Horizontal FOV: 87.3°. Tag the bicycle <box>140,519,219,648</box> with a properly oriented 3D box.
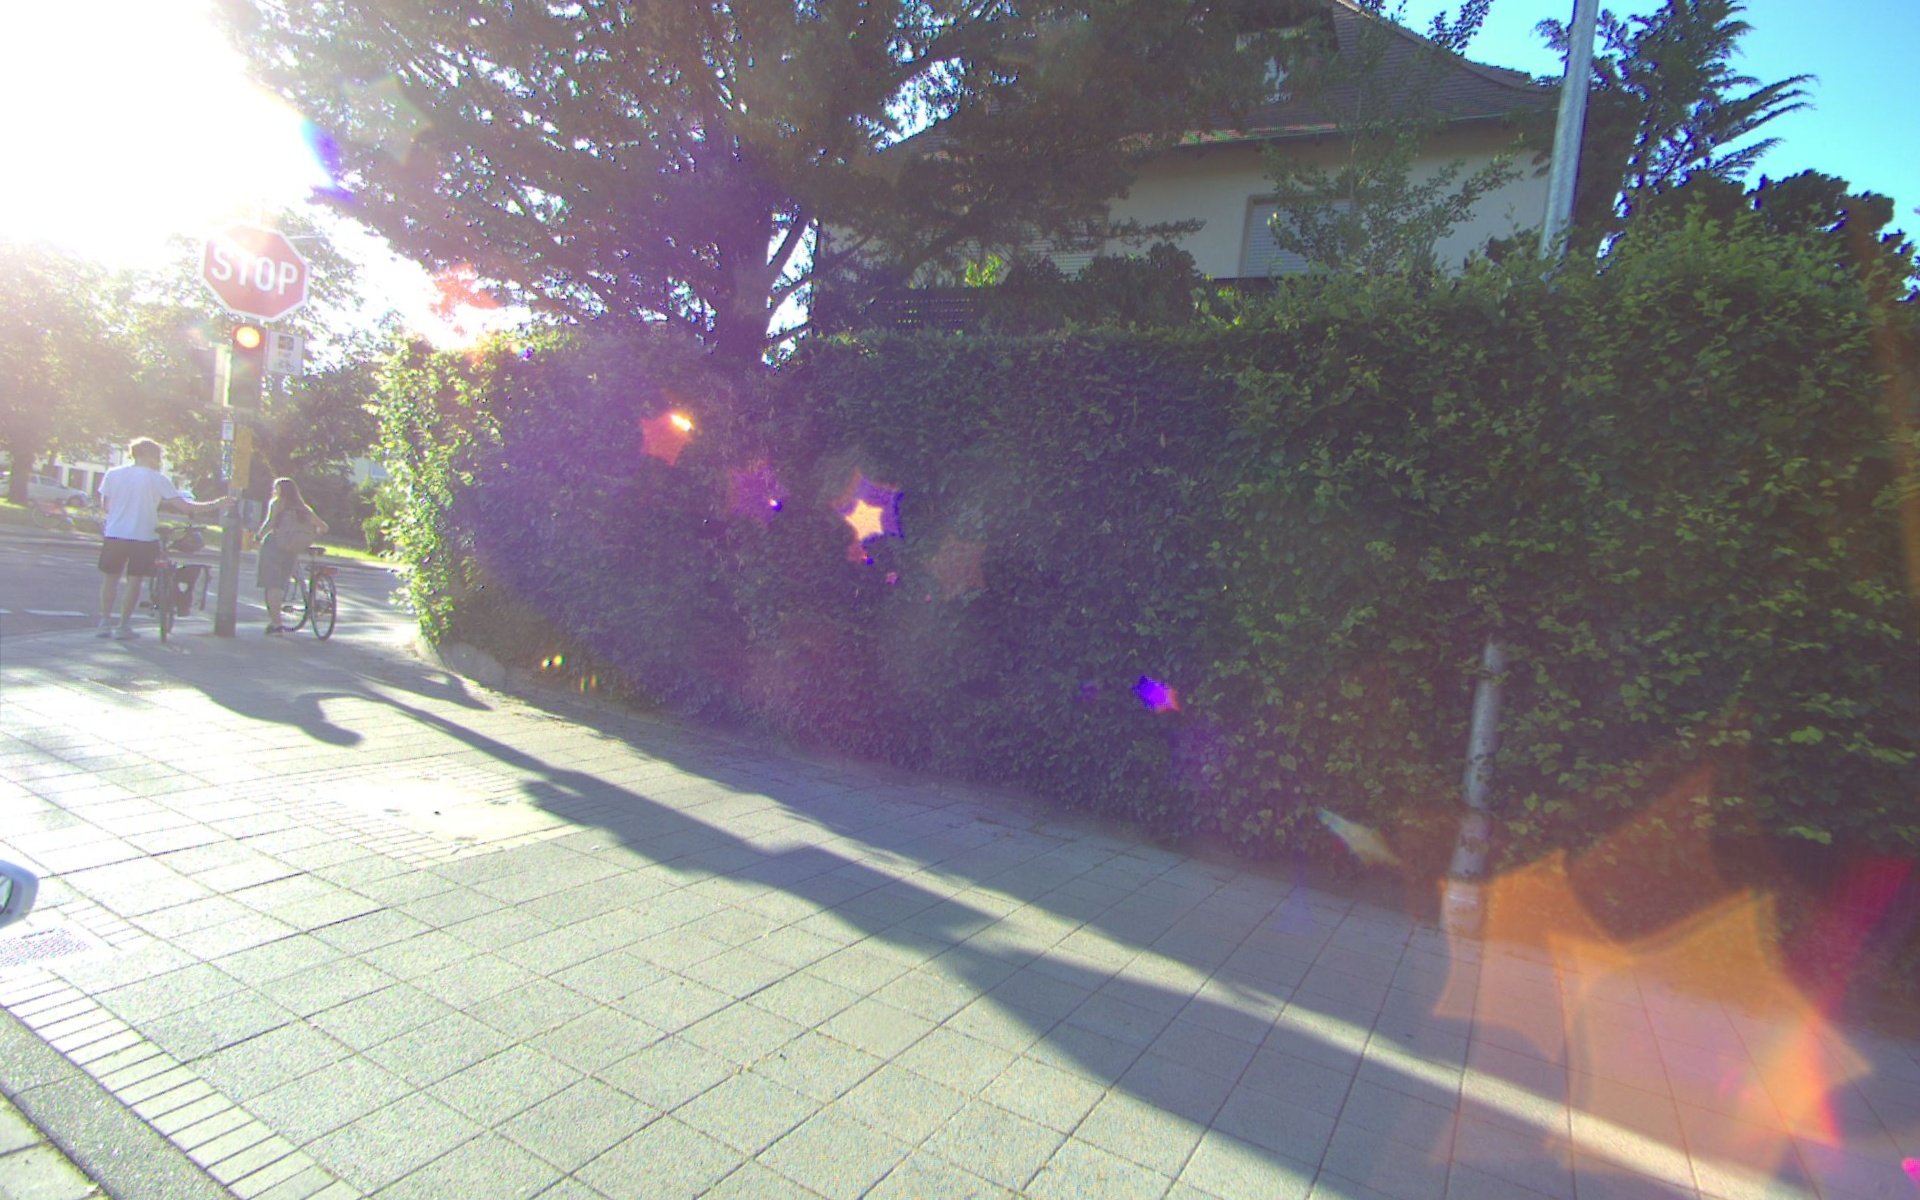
[{"bbox_3d":[-7.645,-0.191,9.825,0.484,1.112,1.770,3,3,-41],"label":"bicycle"}]

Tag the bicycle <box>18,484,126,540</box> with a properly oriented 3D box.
[{"bbox_3d":[-23.210,-2.287,26.324,0.609,1.146,1.956,8,1,32],"label":"bicycle"}]

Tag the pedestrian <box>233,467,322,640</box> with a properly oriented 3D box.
[{"bbox_3d":[-7.165,-0.486,10.553,0.665,1.733,0.615,2,6,-40],"label":"pedestrian"}]

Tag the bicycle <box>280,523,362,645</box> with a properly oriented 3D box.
[{"bbox_3d":[-6.898,-0.196,10.833,0.484,1.158,1.579,3,4,-40],"label":"bicycle"}]

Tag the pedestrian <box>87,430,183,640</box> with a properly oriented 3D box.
[{"bbox_3d":[-7.923,-0.608,9.660,0.666,1.892,0.871,-1,5,-41],"label":"pedestrian"}]

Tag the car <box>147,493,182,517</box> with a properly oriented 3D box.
[{"bbox_3d":[-55.232,-6.583,69.873,1.654,1.435,3.507,7,1,-36],"label":"car"}]

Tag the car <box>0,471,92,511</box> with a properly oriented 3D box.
[{"bbox_3d":[-46.398,-5.501,50.552,1.569,1.445,3.854,7,0,26],"label":"car"}]
